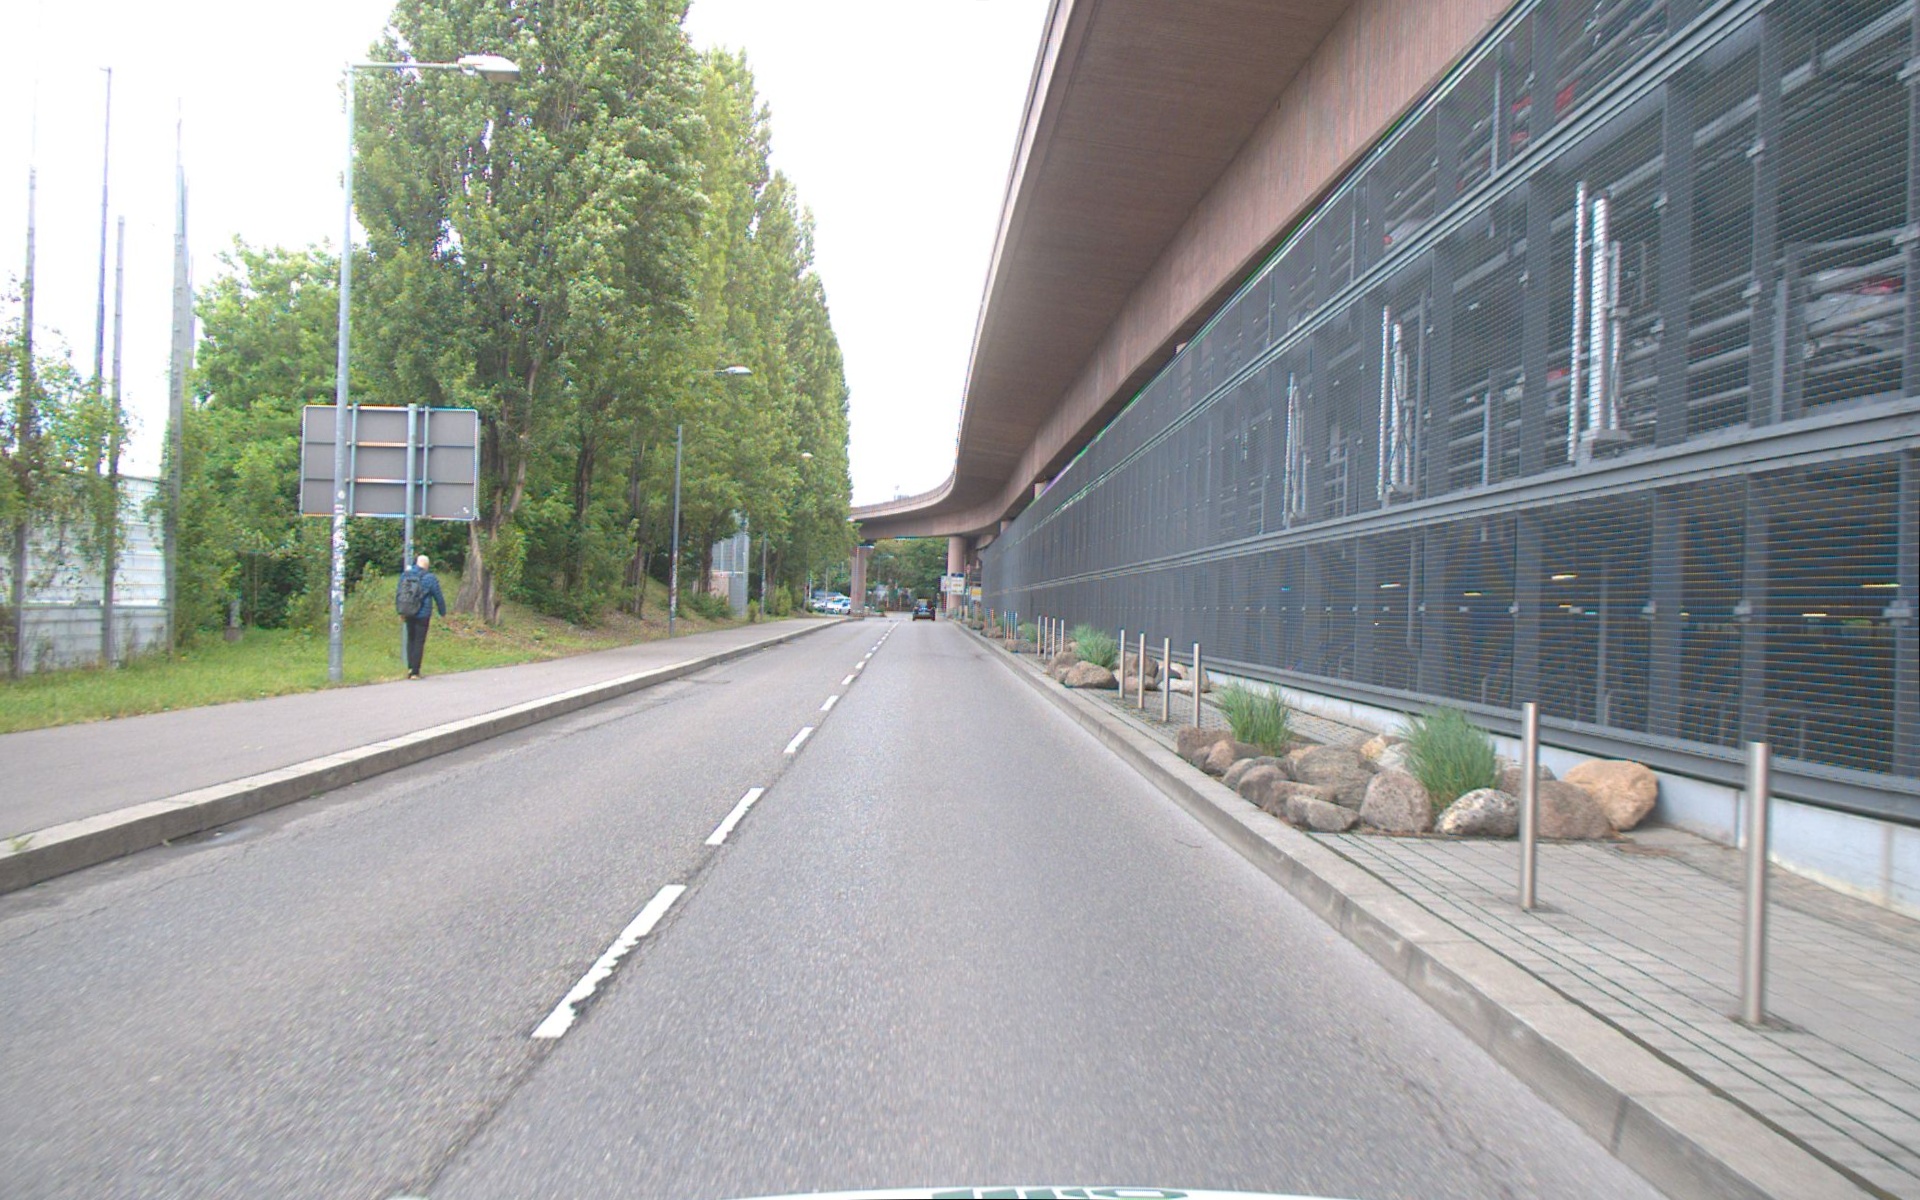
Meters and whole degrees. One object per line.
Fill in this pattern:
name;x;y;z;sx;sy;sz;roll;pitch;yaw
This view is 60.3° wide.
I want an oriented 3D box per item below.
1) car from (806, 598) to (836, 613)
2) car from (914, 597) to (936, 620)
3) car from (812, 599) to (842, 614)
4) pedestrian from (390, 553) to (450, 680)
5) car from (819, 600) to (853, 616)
car;-17.532;0.688;208.950;1.693;1.746;3.654;2;2;39
car;-2.853;0.663;134.764;1.802;1.741;3.705;1;1;-1
car;-16.563;0.820;205.561;1.693;1.746;3.654;2;2;39
pedestrian;-7.883;0.233;24.183;0.791;1.812;0.916;1;1;-18
car;-15.049;0.965;201.239;1.851;1.746;4.132;2;2;39
